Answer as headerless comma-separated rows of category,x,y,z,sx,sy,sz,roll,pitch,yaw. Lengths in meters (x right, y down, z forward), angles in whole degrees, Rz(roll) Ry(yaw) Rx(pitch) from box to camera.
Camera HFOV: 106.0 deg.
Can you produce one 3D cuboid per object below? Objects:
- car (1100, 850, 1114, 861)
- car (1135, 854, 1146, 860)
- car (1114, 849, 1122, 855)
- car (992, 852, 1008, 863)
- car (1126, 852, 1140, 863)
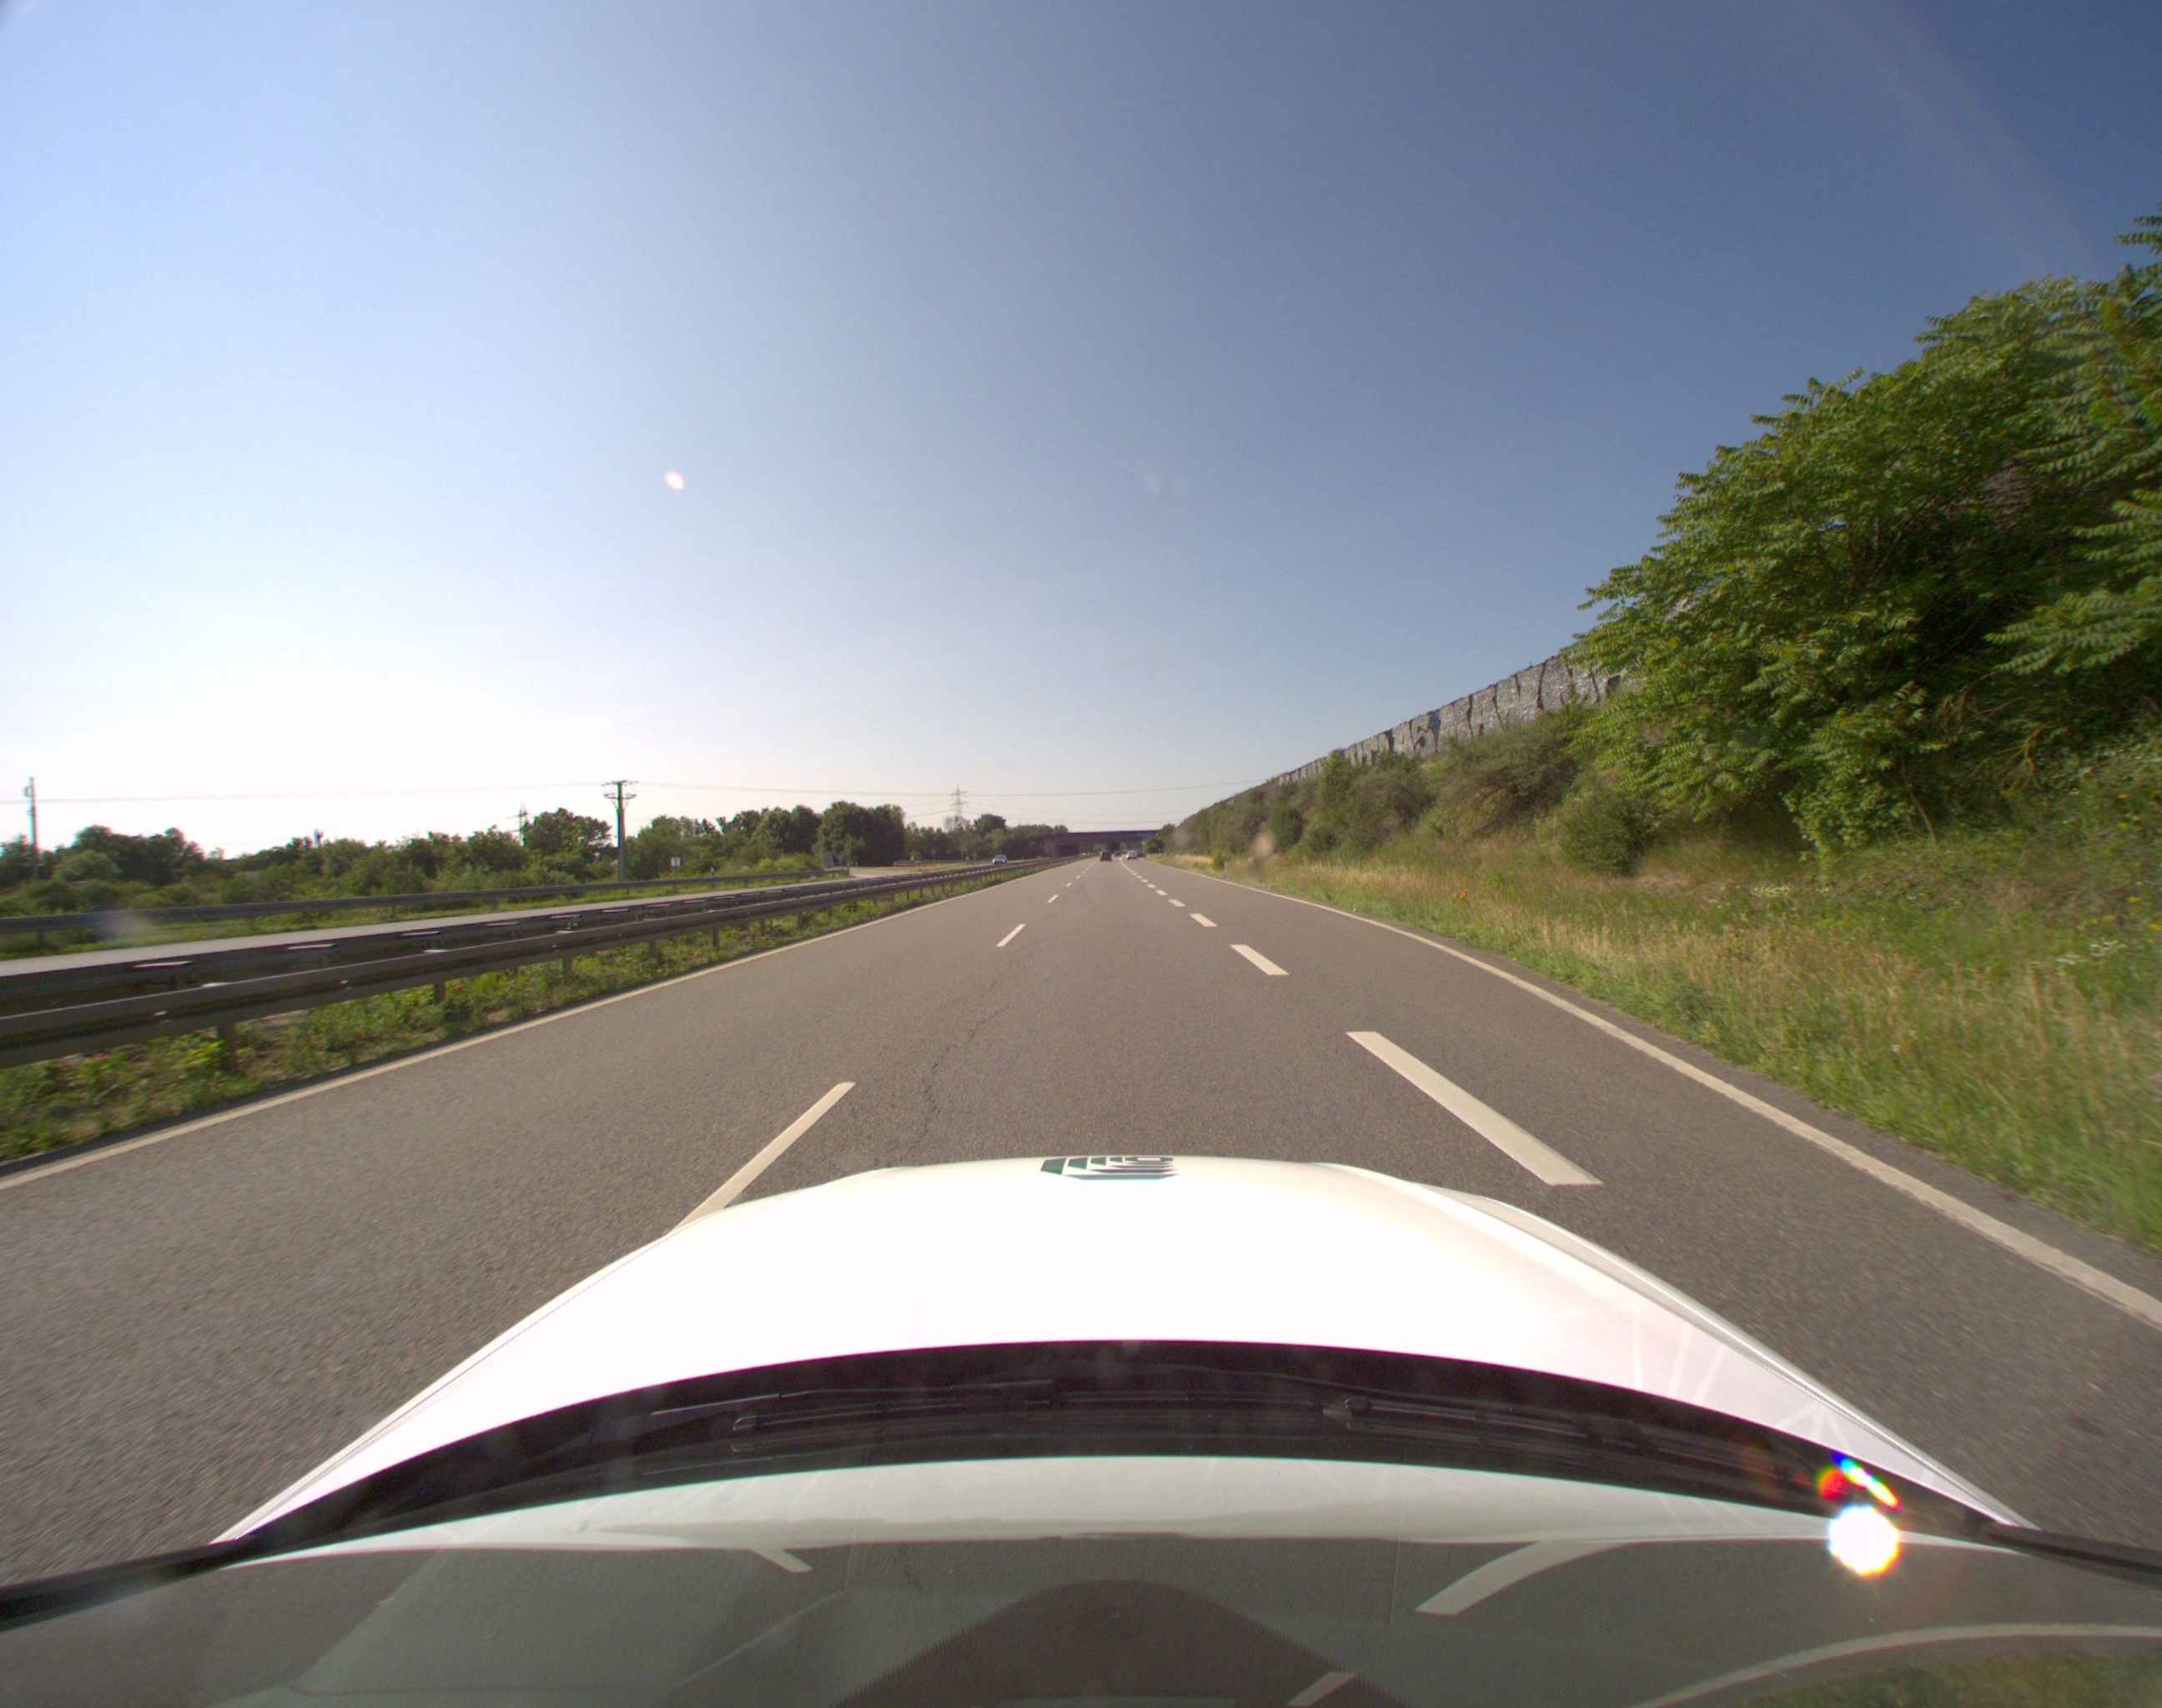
car,4.021,0.188,125.834,1.841,1.644,4.005,-2,0,4
car,12.605,0.660,172.215,1.888,1.297,4.015,0,1,13
car,9.948,-0.558,219.296,1.841,1.644,4.005,-2,0,4
car,-11.442,0.546,115.910,1.694,1.485,4.621,1,0,1
car,8.881,0.568,138.988,1.785,1.665,4.012,0,1,10
